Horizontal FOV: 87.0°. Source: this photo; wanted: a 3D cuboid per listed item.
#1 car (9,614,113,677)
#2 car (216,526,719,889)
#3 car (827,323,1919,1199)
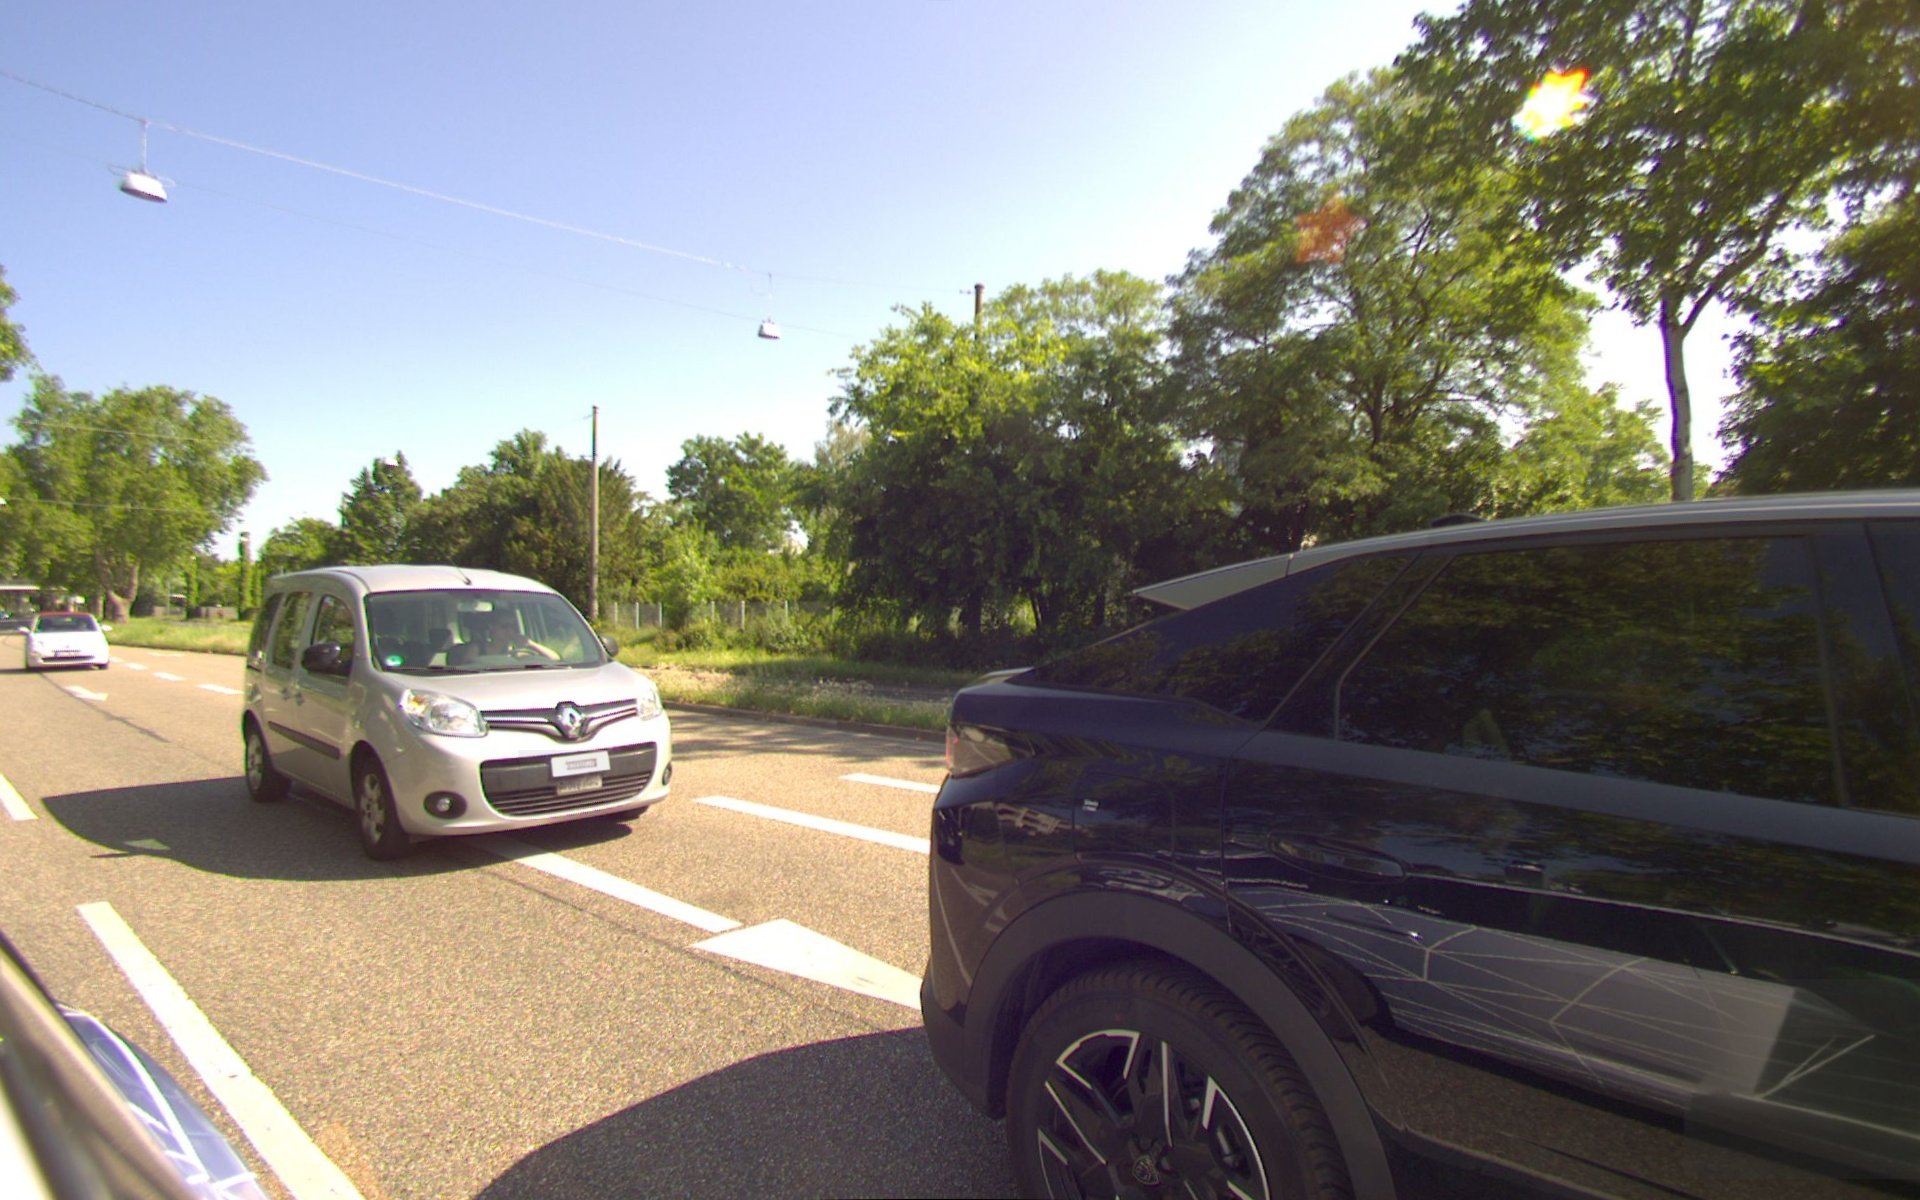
[{"bbox_3d":[-23.768,1.139,26.700,4.376,1.502,1.666,-1,0,43],"label":"car"},{"bbox_3d":[-3.782,0.573,7.356,4.375,1.854,1.852,-1,-1,43],"label":"car"},{"bbox_3d":[1.954,0.533,1.644,4.433,1.709,1.853,-1,-1,41],"label":"car"}]
